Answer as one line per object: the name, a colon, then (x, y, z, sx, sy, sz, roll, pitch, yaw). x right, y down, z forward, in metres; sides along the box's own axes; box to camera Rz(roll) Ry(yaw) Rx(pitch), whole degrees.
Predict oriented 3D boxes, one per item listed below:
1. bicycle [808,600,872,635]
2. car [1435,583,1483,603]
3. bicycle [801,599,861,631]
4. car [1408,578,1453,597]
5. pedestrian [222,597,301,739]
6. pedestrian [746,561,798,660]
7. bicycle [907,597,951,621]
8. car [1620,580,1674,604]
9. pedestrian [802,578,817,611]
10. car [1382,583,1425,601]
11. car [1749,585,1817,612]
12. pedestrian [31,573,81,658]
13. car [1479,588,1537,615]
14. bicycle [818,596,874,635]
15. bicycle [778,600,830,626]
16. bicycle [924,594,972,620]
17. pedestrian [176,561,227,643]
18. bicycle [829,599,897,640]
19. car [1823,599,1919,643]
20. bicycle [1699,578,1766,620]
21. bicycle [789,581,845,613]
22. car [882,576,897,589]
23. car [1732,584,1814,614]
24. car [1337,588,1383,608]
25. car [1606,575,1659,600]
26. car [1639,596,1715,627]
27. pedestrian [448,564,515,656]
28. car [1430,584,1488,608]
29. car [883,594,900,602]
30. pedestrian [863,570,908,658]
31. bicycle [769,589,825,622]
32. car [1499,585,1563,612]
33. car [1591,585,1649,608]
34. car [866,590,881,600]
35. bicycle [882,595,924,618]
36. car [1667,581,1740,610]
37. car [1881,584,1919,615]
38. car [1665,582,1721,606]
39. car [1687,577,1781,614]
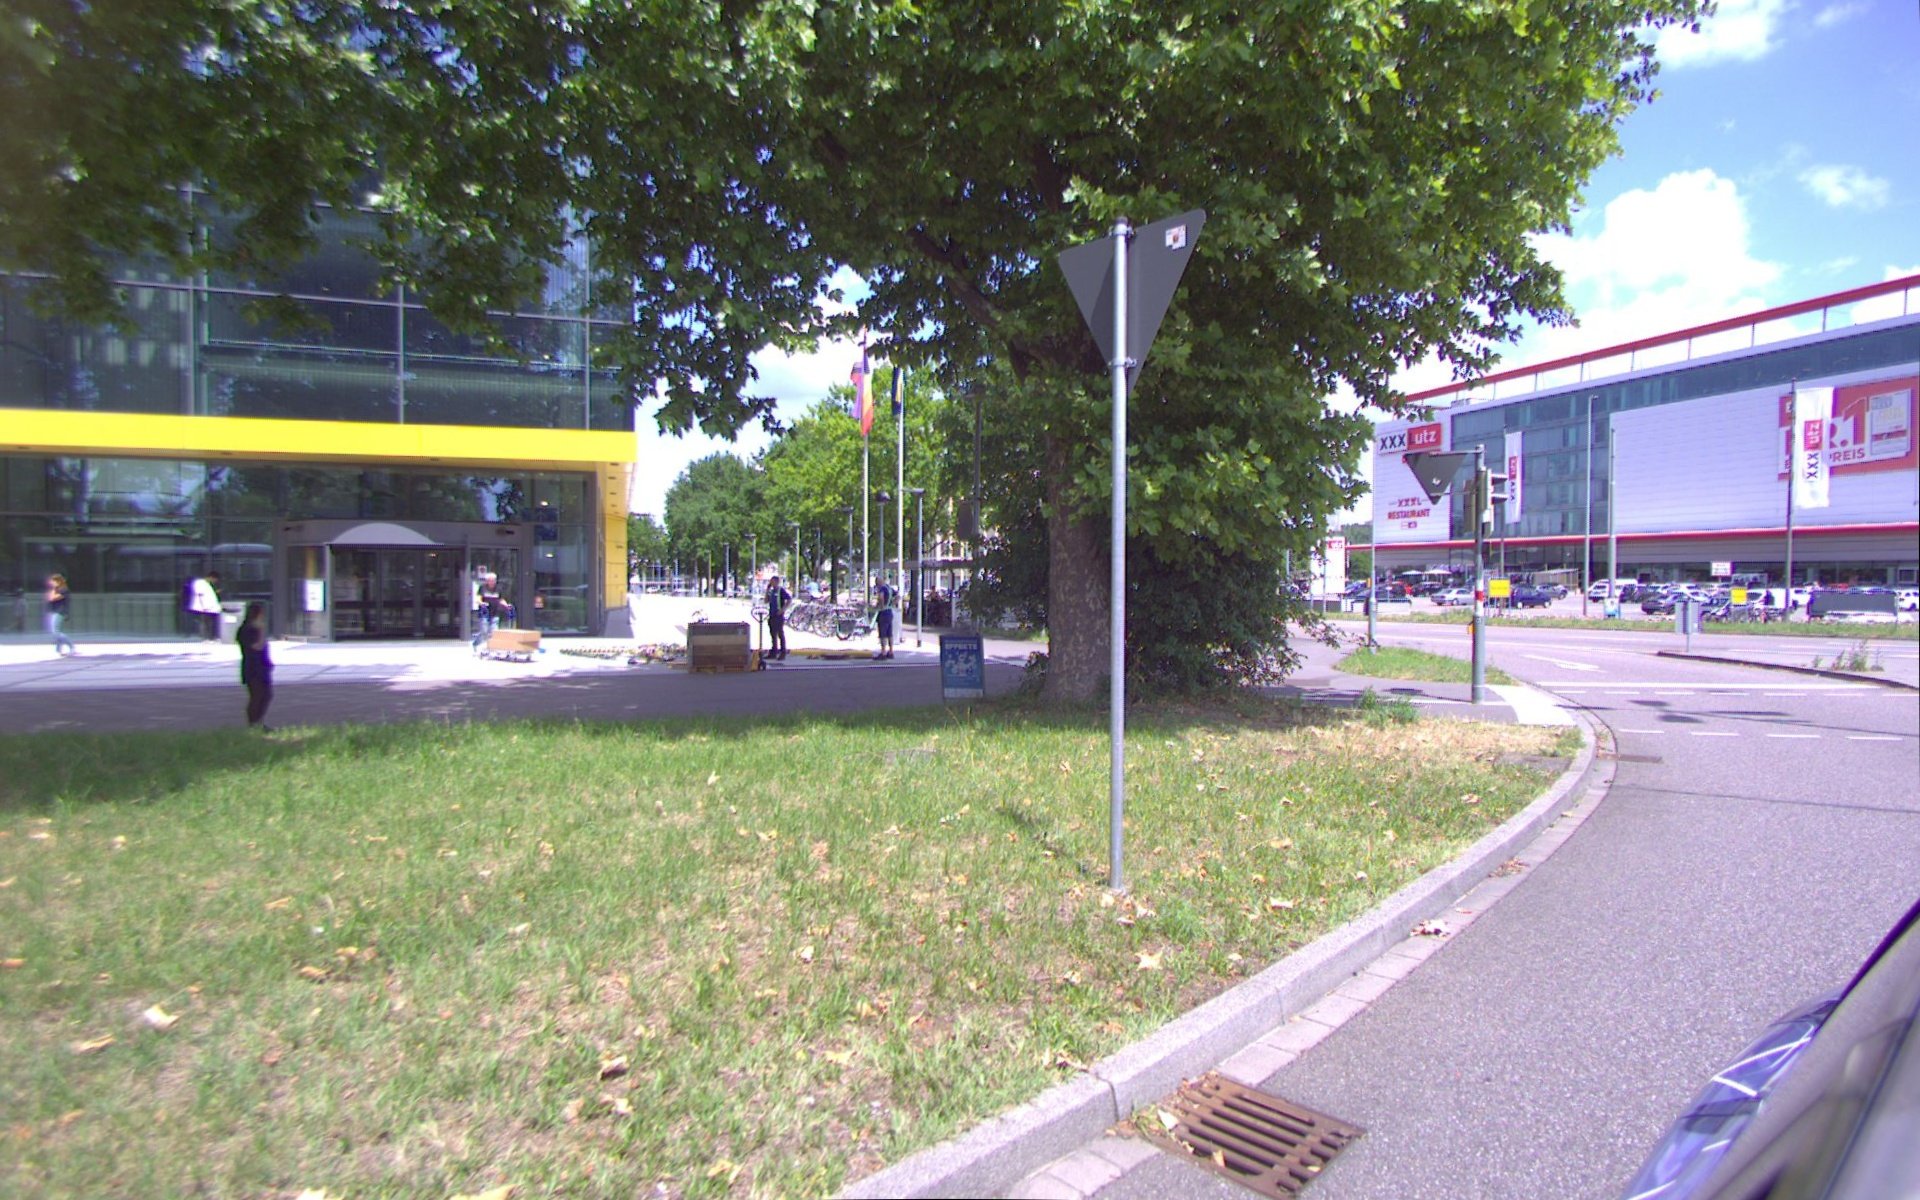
bicycle: (-3.541, 0.527, 29.896, 1.828, 1.007, 0.424, 1, -1, -16)
car: (52.302, -0.732, 106.054, 4.271, 2.014, 2.004, 0, 0, -18)
bicycle: (-4.114, 0.468, 32.221, 1.829, 1.007, 0.465, 0, 0, -21)
car: (51.314, -1.372, 110.415, 4.271, 2.014, 2.004, 0, 0, -18)
pedestrian: (-8.731, 0.834, 12.671, 0.580, 1.683, 0.722, 2, 3, -14)
pedestrian: (-4.090, 0.209, 22.118, 0.991, 2.097, 0.975, 0, 3, -3)
bicycle: (-1.297, 0.388, 42.803, 1.829, 1.007, 0.425, 0, 1, -22)
car: (58.719, -0.662, 86.460, 3.916, 2.039, 1.781, 0, 0, -18)
pedestrian: (-8.025, -0.306, 54.070, 0.519, 1.743, 0.629, 2, 1, 26)
car: (50.717, -0.873, 115.725, 4.271, 2.014, 2.004, 0, 0, -18)
car: (60.592, -0.118, 74.528, 4.000, 2.014, 2.004, 0, 0, -18)
pedestrian: (-18.496, 0.296, 20.705, 0.802, 1.684, 0.693, 2, 2, 43)
car: (44.608, 0.110, 82.394, 3.999, 2.014, 1.847, -1, 1, -18)
bicycle: (-3.492, 0.461, 30.991, 1.648, 1.172, 0.462, 1, 0, -32)
bicycle: (-5.655, 0.473, 36.710, 1.829, 0.893, 0.425, 1, 0, -22)
bicycle: (-0.477, 0.279, 40.368, 1.828, 1.047, 0.425, 0, 0, -16)
pedestrian: (-17.923, 0.038, 23.936, 0.766, 1.909, 0.619, 0, 0, -8)
bicycle: (-2.759, 0.539, 28.865, 1.889, 1.121, 0.504, 0, 2, -35)
car: (43.958, 0.978, 48.491, 4.271, 2.014, 2.004, 0, 0, -18)
bicycle: (32.634, -0.048, 42.803, 0.999, 1.696, 2.053, 1, 0, -17)
bicycle: (-4.846, -0.105, 34.295, 1.828, 1.007, 0.425, 1, 1, -22)
car: (-11.499, -2.813, 163.919, 1.824, 2.069, 3.583, 0, 0, -14)
car: (51.258, -0.079, 63.787, 4.271, 1.862, 2.004, 0, 0, -18)
car: (42.520, -0.236, 107.600, 4.210, 2.068, 1.996, 0, 0, -18)
car: (63.897, -1.205, 96.162, 4.475, 2.335, 1.874, 0, 0, -18)
car: (48.192, 0.773, 68.058, 4.271, 2.014, 2.004, 0, 0, -18)
pedestrian: (-10.146, 0.205, 21.470, 0.877, 1.910, 0.966, 0, 0, 23)
car: (42.783, -0.327, 86.789, 4.271, 2.014, 2.004, 0, 0, -18)
car: (-10.290, -0.287, 151.580, 1.759, 1.267, 4.315, 0, 0, -15)
pedestrian: (-1.652, 0.290, 22.623, 0.991, 1.925, 0.975, 0, 1, -3)
bicycle: (-6.276, 0.213, 39.038, 2.103, 1.245, 0.722, 1, 0, -7)
car: (45.144, -0.154, 80.017, 4.271, 2.014, 2.004, -1, 1, -18)
car: (58.078, -0.300, 89.044, 4.271, 2.014, 2.004, 0, 0, -18)
car: (-13.972, -0.814, 163.236, 1.760, 1.665, 4.178, 0, 0, -14)
bicycle: (-2.599, 0.303, 45.891, 1.828, 1.007, 0.425, 2, 1, -22)
car: (52.872, -0.320, 71.964, 4.271, 2.013, 2.005, 0, 2, -18)
car: (64.117, -0.067, 67.649, 4.000, 2.014, 2.004, 0, 0, -18)
car: (63.701, -0.560, 87.967, 3.916, 2.039, 2.004, 0, 0, -18)
car: (42.595, -0.257, 55.713, 4.271, 2.014, 2.004, 0, 0, -18)
